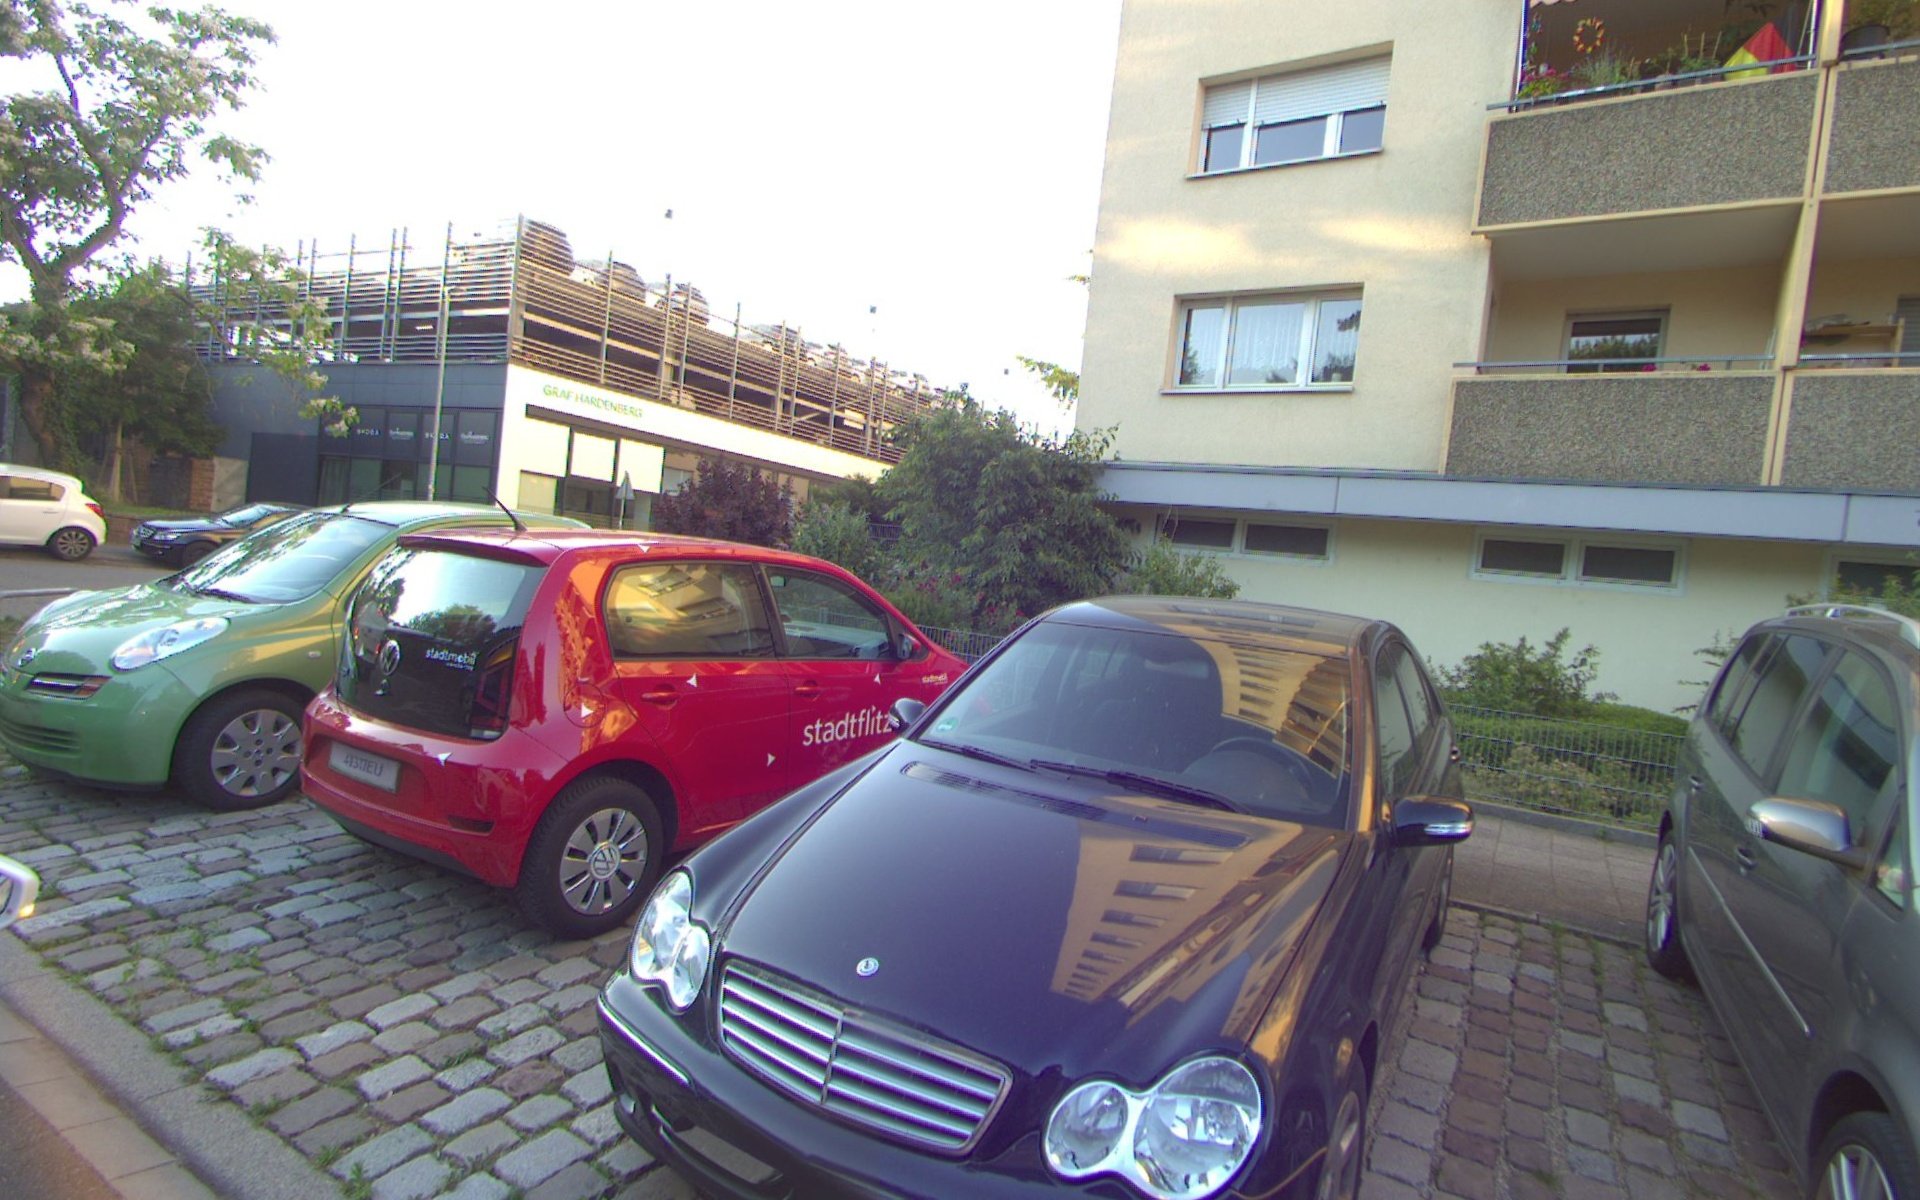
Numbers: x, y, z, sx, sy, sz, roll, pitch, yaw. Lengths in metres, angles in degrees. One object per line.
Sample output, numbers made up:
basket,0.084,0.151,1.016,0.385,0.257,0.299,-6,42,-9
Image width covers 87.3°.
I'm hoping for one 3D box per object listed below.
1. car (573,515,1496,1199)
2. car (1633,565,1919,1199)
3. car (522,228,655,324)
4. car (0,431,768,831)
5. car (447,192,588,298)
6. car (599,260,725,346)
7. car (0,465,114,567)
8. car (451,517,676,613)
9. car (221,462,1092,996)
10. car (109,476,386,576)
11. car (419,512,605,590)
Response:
car,0.963,0.690,3.867,1.814,1.551,4.407,5,1,28
car,3.245,0.835,2.715,1.814,1.684,4.405,5,3,28
car,-12.010,-10.359,32.443,3.938,2.039,1.994,7,0,36
car,-3.415,0.121,6.522,1.814,1.653,4.407,5,1,28
car,-13.330,-10.560,30.236,3.938,2.039,1.994,7,0,36
car,-10.265,-10.132,34.586,3.938,2.039,1.994,7,0,36
car,-17.224,-1.615,17.089,1.924,1.594,3.861,8,1,29
car,-7.973,-0.663,20.525,1.794,1.544,3.835,7,2,35
car,-1.109,0.322,5.510,1.815,1.655,4.398,7,5,32
car,-14.576,-1.469,20.822,1.794,1.523,4.290,7,2,35
car,-11.224,-1.196,25.415,1.794,1.523,3.835,7,2,35
